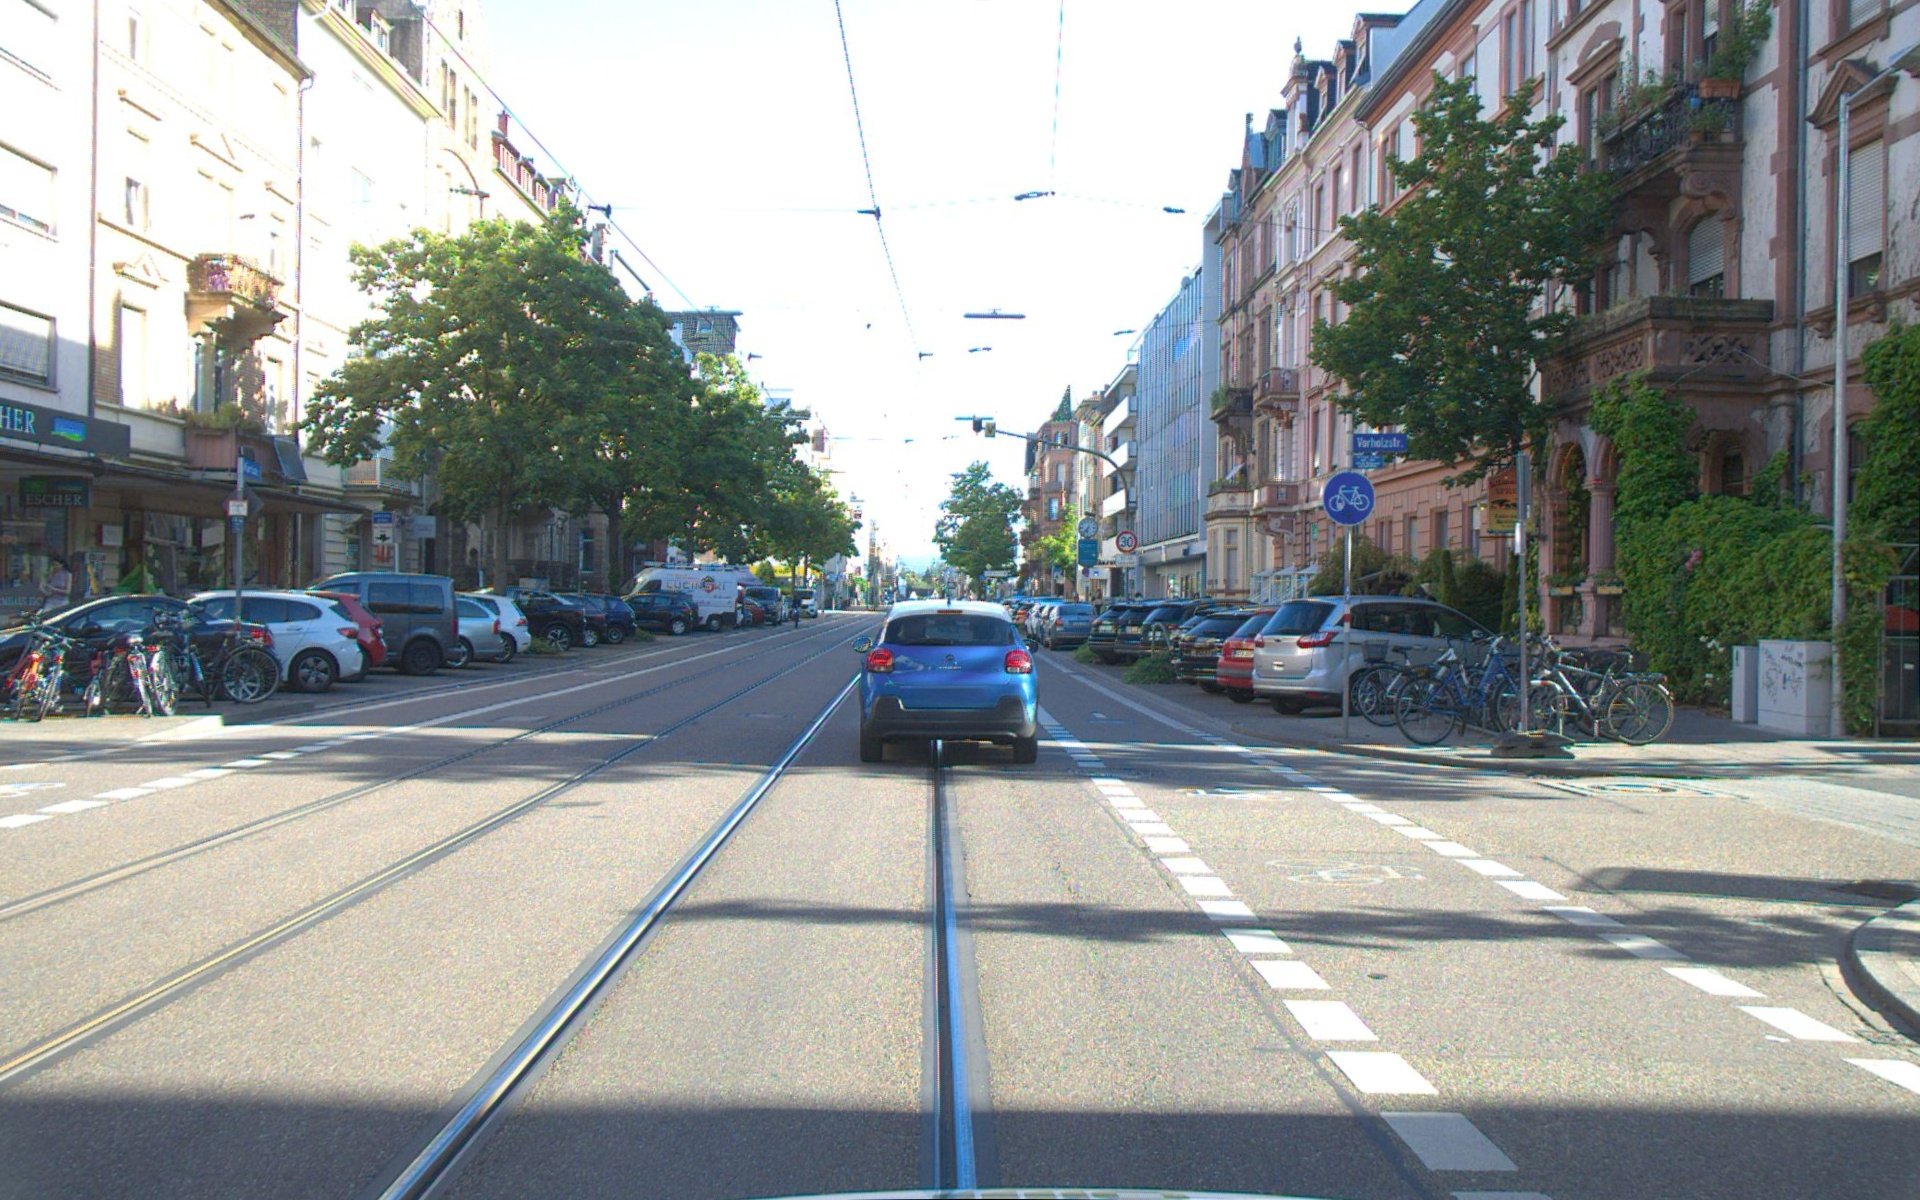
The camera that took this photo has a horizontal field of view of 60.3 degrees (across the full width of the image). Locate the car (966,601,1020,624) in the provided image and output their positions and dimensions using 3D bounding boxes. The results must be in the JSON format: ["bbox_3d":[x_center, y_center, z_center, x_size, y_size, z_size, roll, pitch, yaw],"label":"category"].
[{"bbox_3d":[2.406,0.912,122.154,3.600,1.561,1.778,2,0,-21],"label":"car"}]

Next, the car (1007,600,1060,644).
[{"bbox_3d":[2.860,0.841,65.365,1.835,1.624,3.999,2,0,-1],"label":"car"}]

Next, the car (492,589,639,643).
[{"bbox_3d":[-11.786,0.483,49.466,3.943,1.515,1.789,2,-1,-29],"label":"car"}]

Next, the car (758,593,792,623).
[{"bbox_3d":[-10.841,0.471,97.181,1.713,1.646,4.407,2,0,-4],"label":"car"}]

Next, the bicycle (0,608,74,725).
[{"bbox_3d":[-10.364,0.714,18.528,0.675,1.143,1.867,0,2,-31],"label":"bicycle"}]

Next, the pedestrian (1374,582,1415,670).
[{"bbox_3d":[8.420,0.494,32.072,0.507,1.677,0.863,1,-1,-1],"label":"pedestrian"}]

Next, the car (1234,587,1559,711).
[{"bbox_3d":[6.202,0.695,23.433,4.297,1.624,1.838,2,-1,-26],"label":"car"}]

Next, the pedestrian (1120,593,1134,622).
[{"bbox_3d":[9.441,0.406,93.472,0.678,1.615,0.678,1,-1,-1],"label":"pedestrian"}]

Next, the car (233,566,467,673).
[{"bbox_3d":[-11.116,0.366,30.173,3.769,1.816,1.780,2,-1,-29],"label":"car"}]

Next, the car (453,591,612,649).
[{"bbox_3d":[-11.971,0.561,46.389,3.951,1.515,1.785,2,-1,-34],"label":"car"}]

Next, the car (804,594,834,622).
[{"bbox_3d":[-9.845,0.574,115.752,1.794,1.880,4.213,2,0,-1],"label":"car"}]

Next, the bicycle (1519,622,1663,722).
[{"bbox_3d":[7.658,0.862,20.117,1.523,1.147,0.552,1,-1,5],"label":"bicycle"}]

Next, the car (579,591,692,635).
[{"bbox_3d":[-11.959,0.477,60.923,3.924,1.515,1.797,2,0,-18],"label":"car"}]

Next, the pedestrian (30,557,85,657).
[{"bbox_3d":[-15.575,0.123,28.551,0.557,1.681,0.641,1,-1,-1],"label":"pedestrian"}]

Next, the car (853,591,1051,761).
[{"bbox_3d":[-0.104,0.685,16.507,1.727,1.466,3.556,2,0,-1],"label":"car"}]

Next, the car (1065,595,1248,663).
[{"bbox_3d":[5.012,0.736,42.118,4.249,1.624,1.966,2,0,-26],"label":"car"}]

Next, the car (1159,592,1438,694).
[{"bbox_3d":[5.852,0.744,28.588,4.379,1.624,2.072,2,0,-26],"label":"car"}]

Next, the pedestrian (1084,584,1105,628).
[{"bbox_3d":[5.046,0.235,62.082,0.697,1.635,0.654,1,-1,-2],"label":"pedestrian"}]

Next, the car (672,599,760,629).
[{"bbox_3d":[-11.348,0.646,76.879,3.751,1.287,1.503,2,-1,-27],"label":"car"}]

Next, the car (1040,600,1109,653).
[{"bbox_3d":[3.688,0.836,54.063,1.835,1.624,4.718,2,0,-1],"label":"car"}]

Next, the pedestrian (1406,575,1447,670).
[{"bbox_3d":[9.035,0.430,32.043,0.507,1.809,0.863,1,-1,-1],"label":"pedestrian"}]

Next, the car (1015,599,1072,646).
[{"bbox_3d":[3.035,0.812,60.964,1.835,1.624,3.999,2,0,-1],"label":"car"}]

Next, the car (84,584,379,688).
[{"bbox_3d":[-10.745,0.539,24.470,3.746,1.424,1.734,2,-1,-34],"label":"car"}]

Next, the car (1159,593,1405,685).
[{"bbox_3d":[6.149,0.744,31.571,4.264,1.624,2.029,2,0,-26],"label":"car"}]

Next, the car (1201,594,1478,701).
[{"bbox_3d":[5.982,0.745,26.043,3.937,1.563,1.903,2,0,-26],"label":"car"}]

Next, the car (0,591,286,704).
[{"bbox_3d":[-10.773,0.611,21.529,3.431,1.361,1.604,2,-1,-36],"label":"car"}]

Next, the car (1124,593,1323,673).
[{"bbox_3d":[5.812,0.728,36.444,3.937,1.624,1.943,2,0,-26],"label":"car"}]

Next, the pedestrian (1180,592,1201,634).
[{"bbox_3d":[9.233,0.526,66.214,0.697,1.635,0.654,1,-1,-2],"label":"pedestrian"}]

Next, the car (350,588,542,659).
[{"bbox_3d":[-11.297,0.518,36.387,3.786,1.455,1.751,2,0,-27],"label":"car"}]

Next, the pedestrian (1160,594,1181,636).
[{"bbox_3d":[8.408,0.594,66.022,0.697,1.635,0.654,-2,0,-2],"label":"pedestrian"}]

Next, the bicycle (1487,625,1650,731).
[{"bbox_3d":[6.930,0.878,18.872,1.639,1.147,0.552,1,-1,5],"label":"bicycle"}]

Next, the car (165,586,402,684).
[{"bbox_3d":[-11.112,0.550,27.196,3.423,1.499,1.632,1,0,-30],"label":"car"}]

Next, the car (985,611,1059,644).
[{"bbox_3d":[3.202,1.416,85.280,3.409,1.582,1.804,2,-1,-33],"label":"car"}]

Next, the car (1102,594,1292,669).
[{"bbox_3d":[5.566,0.734,38.837,3.937,1.624,2.071,2,0,-26],"label":"car"}]

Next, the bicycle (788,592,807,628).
[{"bbox_3d":[-7.957,0.484,81.074,0.666,1.708,2.096,1,0,-1],"label":"bicycle"}]

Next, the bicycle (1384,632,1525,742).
[{"bbox_3d":[5.343,0.940,17.874,1.375,1.147,0.549,2,-1,-17],"label":"bicycle"}]

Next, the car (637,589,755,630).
[{"bbox_3d":[-11.300,0.421,70.912,4.713,1.646,1.692,2,-1,-34],"label":"car"}]

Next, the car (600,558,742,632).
[{"bbox_3d":[-11.580,-0.166,66.441,5.316,2.797,1.787,2,-1,-31],"label":"car"}]

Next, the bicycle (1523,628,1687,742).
[{"bbox_3d":[6.873,0.894,17.674,1.523,1.147,0.552,1,-1,5],"label":"bicycle"}]

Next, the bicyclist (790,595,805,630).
[{"bbox_3d":[-7.972,0.615,81.265,0.621,1.711,0.726,1,-1,-1],"label":"bicyclist"}]

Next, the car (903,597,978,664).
[{"bbox_3d":[-0.514,0.771,43.459,1.835,1.624,3.999,2,0,-1],"label":"car"}]

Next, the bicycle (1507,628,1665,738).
[{"bbox_3d":[6.900,0.907,18.271,1.523,1.147,0.528,1,-1,5],"label":"bicycle"}]

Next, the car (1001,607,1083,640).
[{"bbox_3d":[4.101,1.175,82.694,3.685,1.547,1.945,2,-1,-34],"label":"car"}]

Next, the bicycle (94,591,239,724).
[{"bbox_3d":[-9.076,0.617,19.032,0.668,1.342,2.434,1,2,-5],"label":"bicycle"}]

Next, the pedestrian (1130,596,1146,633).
[{"bbox_3d":[8.747,0.721,81.193,0.678,1.786,0.678,1,-1,-1],"label":"pedestrian"}]

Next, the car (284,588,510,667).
[{"bbox_3d":[-11.196,0.561,32.994,3.970,1.475,1.680,2,-1,-34],"label":"car"}]

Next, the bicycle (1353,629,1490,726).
[{"bbox_3d":[5.507,0.920,19.754,1.523,1.098,0.307,1,-1,5],"label":"bicycle"}]

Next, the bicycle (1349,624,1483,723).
[{"bbox_3d":[5.533,0.891,20.098,1.527,1.147,0.295,1,-1,5],"label":"bicycle"}]

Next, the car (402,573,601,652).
[{"bbox_3d":[-11.265,0.321,40.728,4.313,1.814,1.973,2,-1,-34],"label":"car"}]

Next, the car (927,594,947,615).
[{"bbox_3d":[-1.635,0.299,118.621,1.394,1.457,3.138,2,0,-1],"label":"car"}]

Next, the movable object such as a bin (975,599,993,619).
[{"bbox_3d":[1.916,0.704,132.412,1.366,1.509,1.655,2,0,-1],"label":"movable object such as a bin"}]
